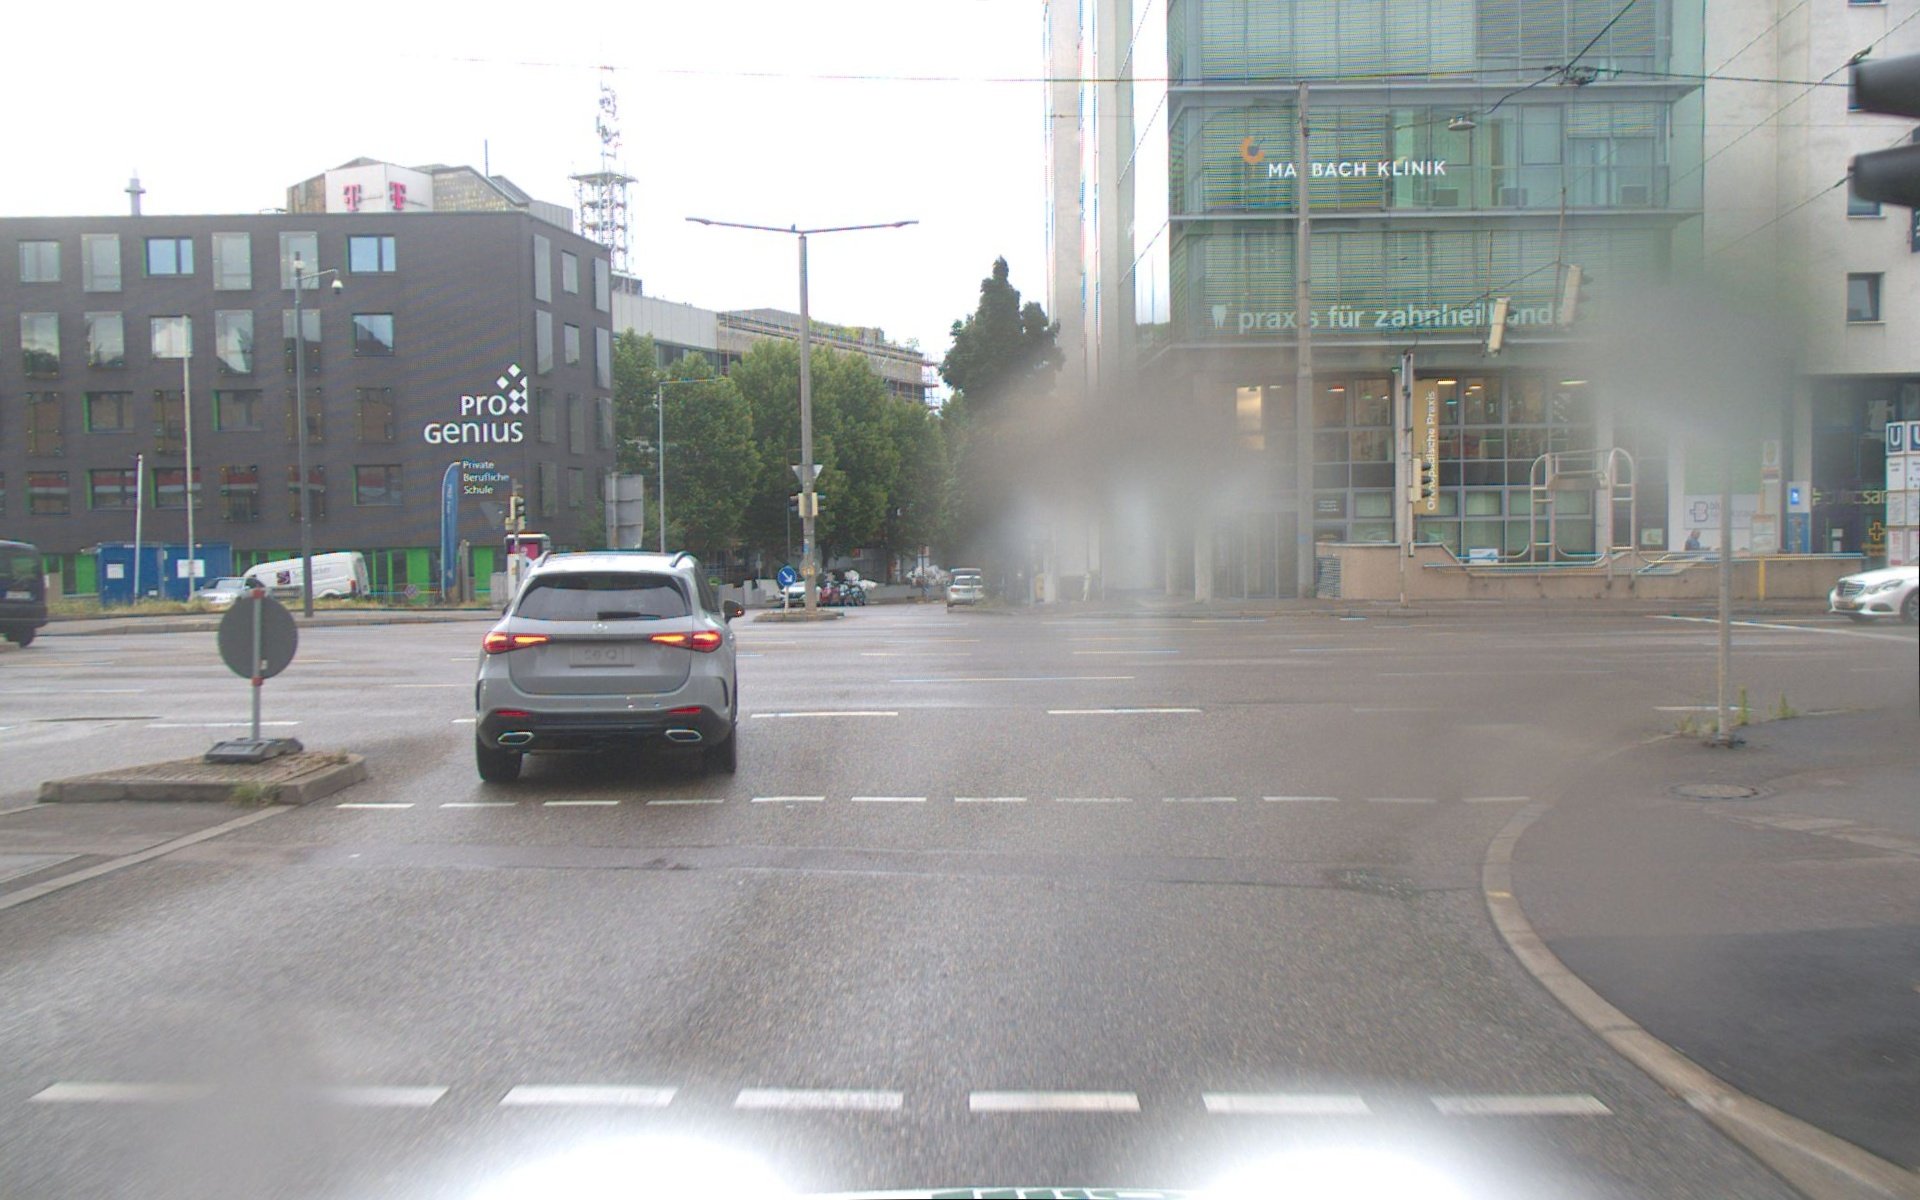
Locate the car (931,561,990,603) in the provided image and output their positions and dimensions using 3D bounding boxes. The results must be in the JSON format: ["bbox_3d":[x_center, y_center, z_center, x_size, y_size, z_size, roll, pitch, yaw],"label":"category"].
[{"bbox_3d":[-0.012,-0.804,73.324,1.957,1.747,3.991,1,1,-10],"label":"car"}]

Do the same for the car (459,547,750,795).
[{"bbox_3d":[-2.663,0.440,13.290,1.872,1.660,4.205,1,1,-7],"label":"car"}]

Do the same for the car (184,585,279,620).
[{"bbox_3d":[-28.567,0.082,65.007,1.758,1.310,4.002,1,0,4],"label":"car"}]

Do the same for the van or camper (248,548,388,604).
[{"bbox_3d":[-28.993,-1.078,74.813,5.221,2.410,2.739,1,0,-1],"label":"van or camper"}]

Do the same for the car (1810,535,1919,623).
[{"bbox_3d":[17.308,-0.412,28.103,4.847,1.411,1.823,-1,2,-2],"label":"car"}]

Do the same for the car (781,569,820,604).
[{"bbox_3d":[-9.504,-0.814,98.524,1.953,2.049,4.000,1,1,-1],"label":"car"}]

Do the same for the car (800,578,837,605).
[{"bbox_3d":[-8.864,-0.536,103.874,1.643,1.622,3.859,1,1,6],"label":"car"}]

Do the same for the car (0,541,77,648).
[{"bbox_3d":[-17.937,-0.119,28.997,4.029,1.799,1.860,0,1,11],"label":"car"}]
